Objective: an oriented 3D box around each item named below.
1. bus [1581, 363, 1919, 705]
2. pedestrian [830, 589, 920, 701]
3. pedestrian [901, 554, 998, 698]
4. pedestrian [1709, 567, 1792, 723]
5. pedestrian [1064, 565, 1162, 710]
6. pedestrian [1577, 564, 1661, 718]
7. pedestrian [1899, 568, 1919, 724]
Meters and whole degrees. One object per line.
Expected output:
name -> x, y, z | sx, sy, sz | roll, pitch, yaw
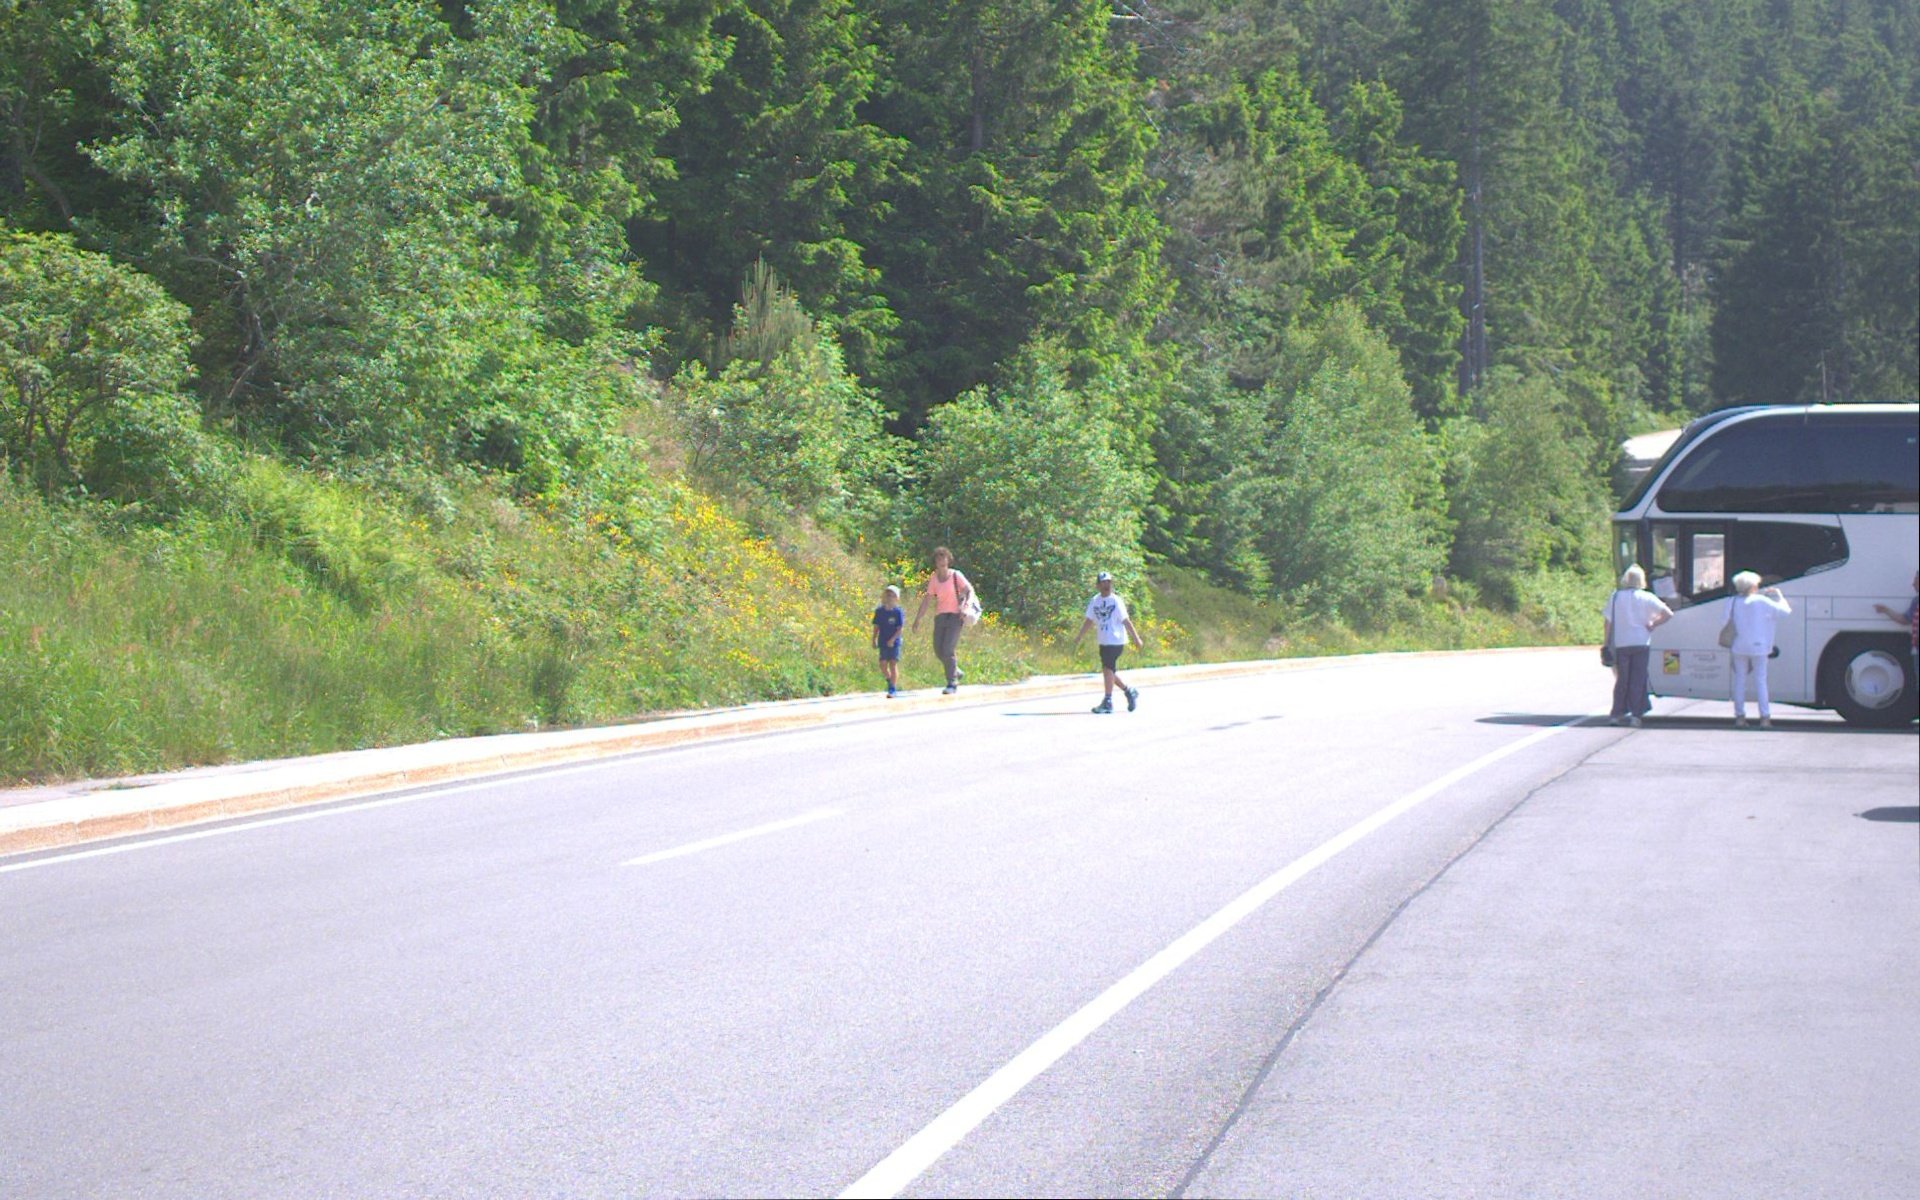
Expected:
bus -> 13.283, -0.715, 35.663 | 13.107, 3.520, 3.040 | 0, 1, 21
pedestrian -> -0.982, 0.520, 39.881 | 0.782, 1.275, 0.735 | 0, 1, 26
pedestrian -> -0.119, 0.300, 40.834 | 0.868, 1.677, 0.855 | 0, 1, 23
pedestrian -> 8.158, 0.457, 35.484 | 0.771, 1.579, 0.772 | 0, 1, 17
pedestrian -> 1.691, 0.401, 38.092 | 0.853, 1.579, 0.818 | -1, 1, -15
pedestrian -> 6.889, 0.424, 35.922 | 0.771, 1.579, 0.772 | 0, 1, 17
pedestrian -> 10.056, 0.460, 35.247 | 0.770, 1.579, 0.772 | 0, 1, 18
